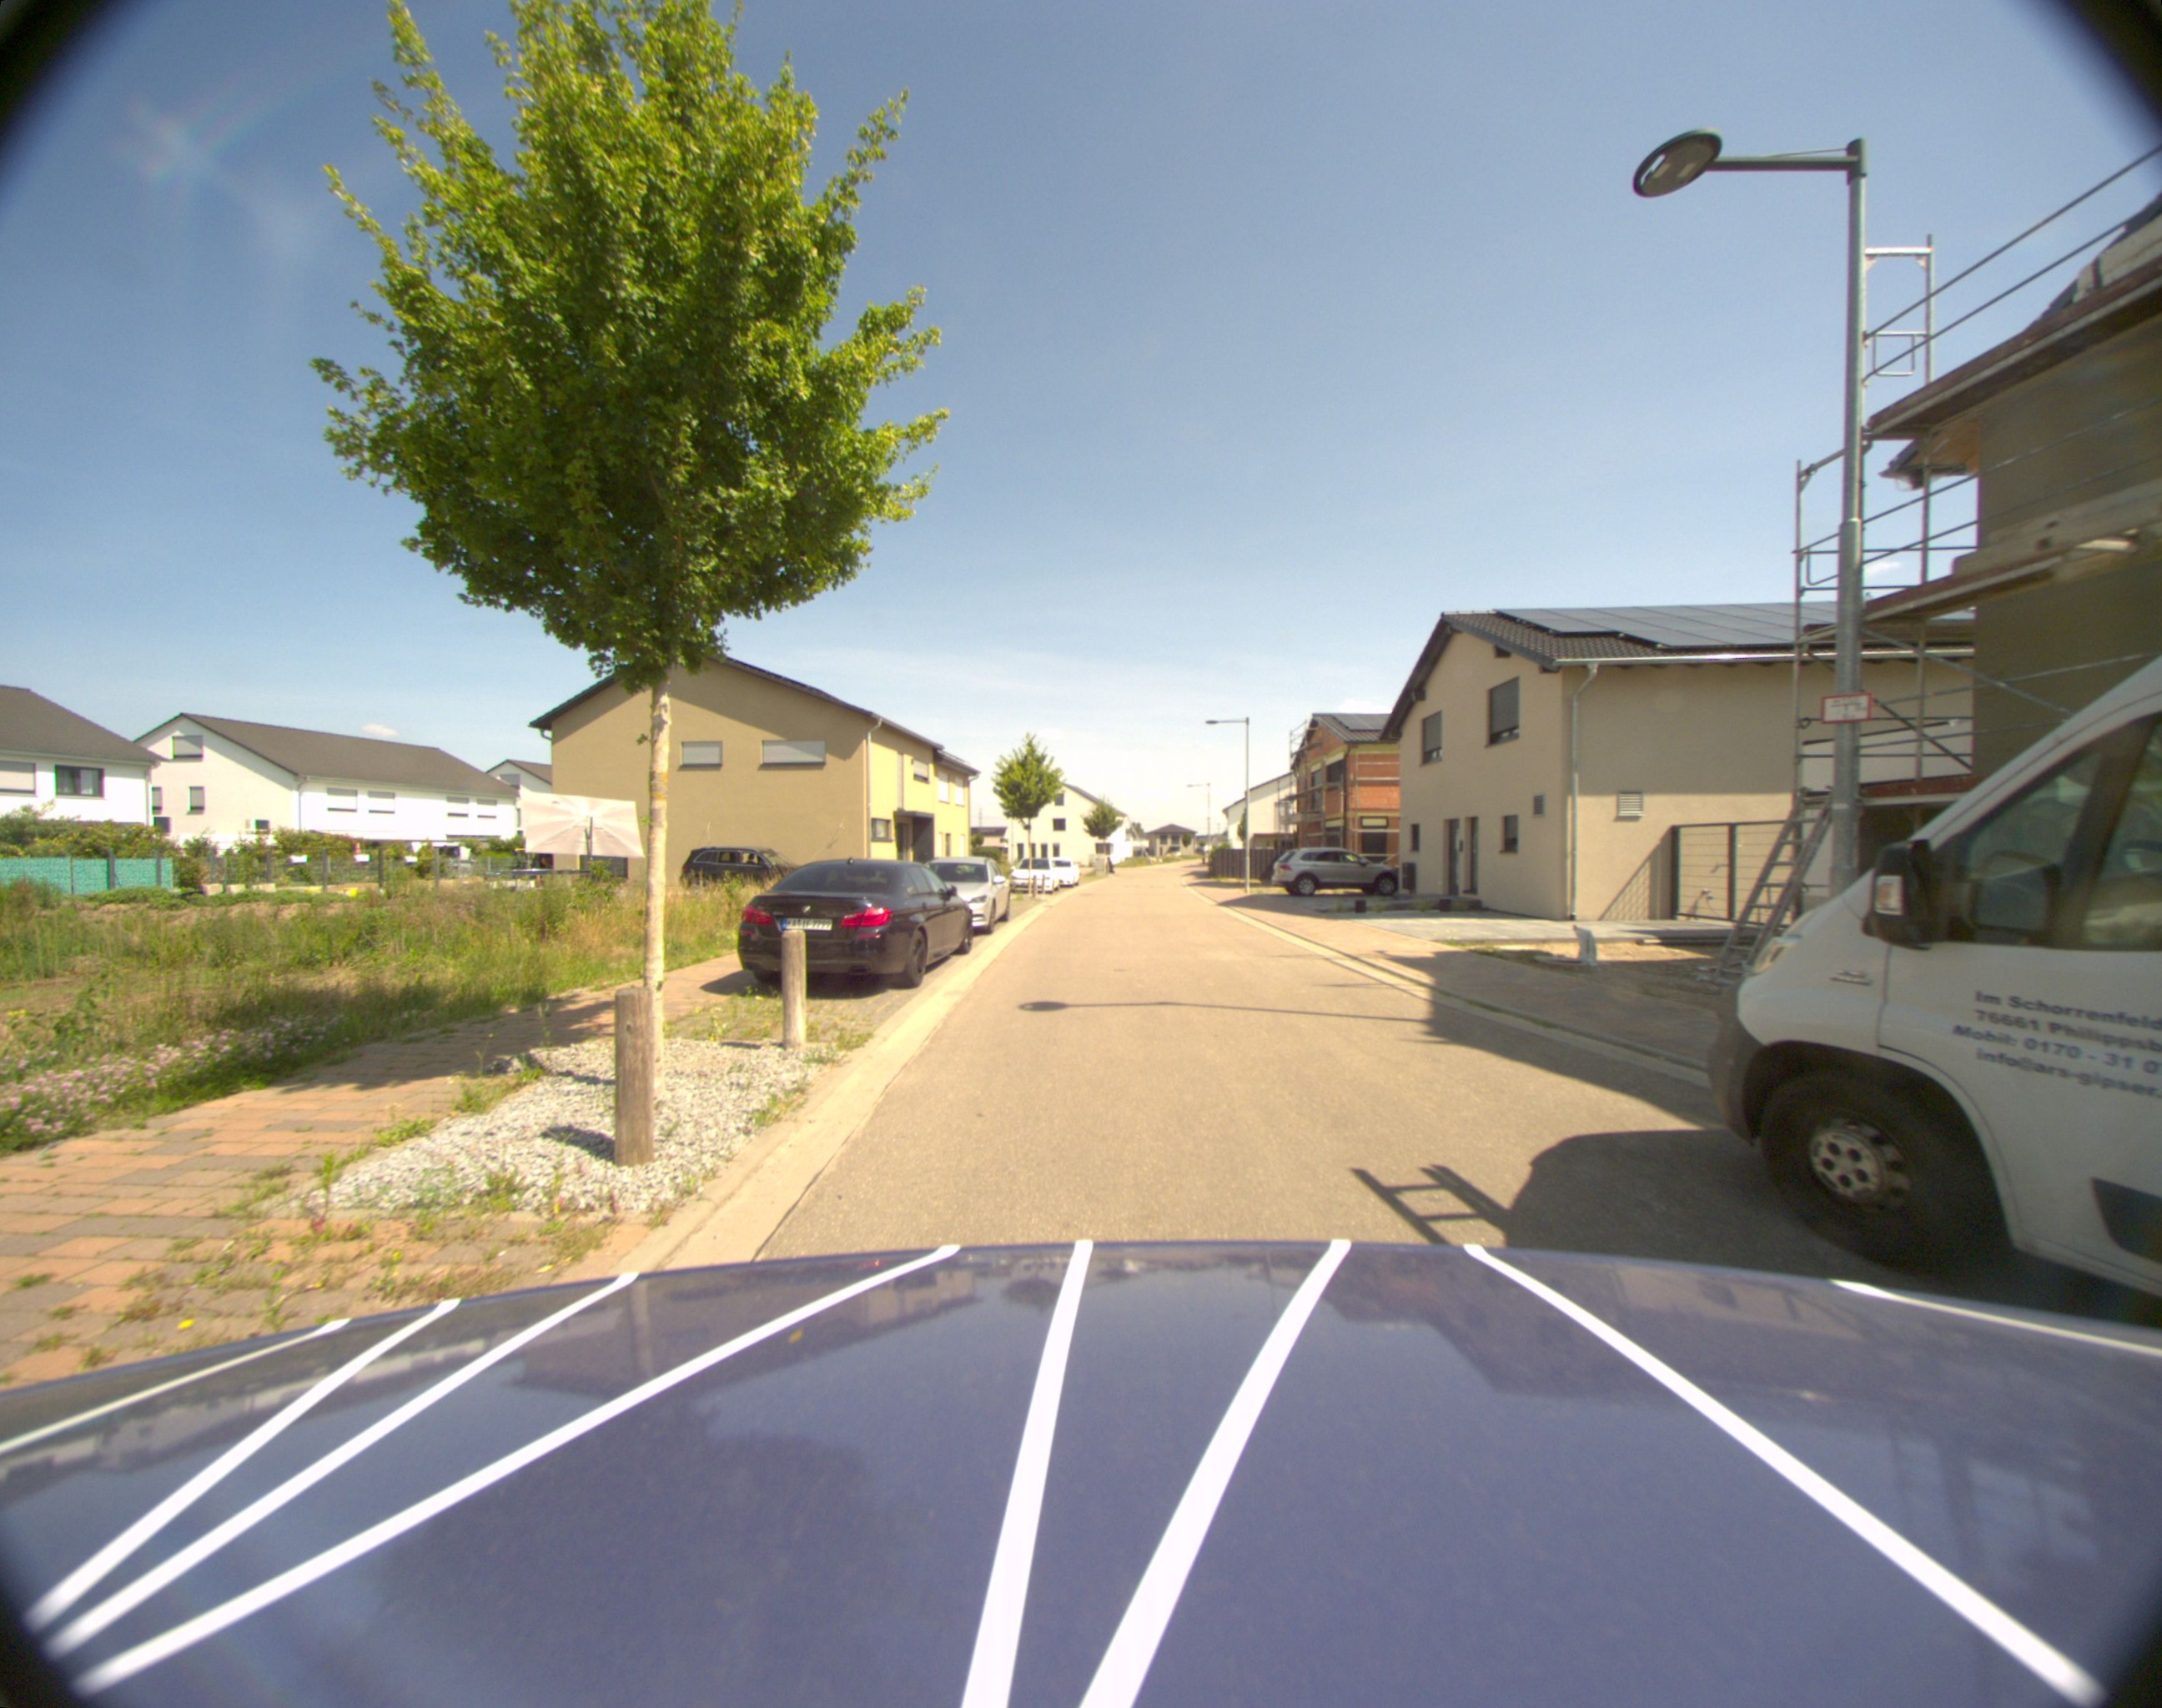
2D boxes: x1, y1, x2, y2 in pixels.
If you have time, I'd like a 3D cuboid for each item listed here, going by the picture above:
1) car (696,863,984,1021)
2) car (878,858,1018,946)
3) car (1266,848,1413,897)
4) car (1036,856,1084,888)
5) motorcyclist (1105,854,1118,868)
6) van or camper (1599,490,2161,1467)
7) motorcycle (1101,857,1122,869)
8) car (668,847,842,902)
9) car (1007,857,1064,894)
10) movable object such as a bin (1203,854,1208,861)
[{"bbox_3d":[-2.715,0.897,10.064,1.923,1.461,5.141,1,0,3],"label":"car"},{"bbox_3d":[-2.586,0.859,16.132,1.923,1.502,5.295,1,0,1],"label":"car"},{"bbox_3d":[8.880,0.609,26.422,4.435,1.602,2.000,0,0,1],"label":"car"},{"bbox_3d":[-0.992,0.848,38.394,1.818,1.447,4.566,1,1,6],"label":"car"},{"bbox_3d":[2.796,0.628,69.241,0.928,1.215,0.802,0,0,-22],"label":"motorcyclist"},{"bbox_3d":[4.059,0.348,0.777,2.279,2.539,6.363,0,1,-5],"label":"van or camper"},{"bbox_3d":[2.776,0.835,69.191,0.960,1.029,2.432,-2,0,-20],"label":"motorcycle"},{"bbox_3d":[-10.438,0.623,24.591,4.756,1.635,2.000,1,2,2],"label":"car"},{"bbox_3d":[-1.834,0.836,32.114,1.783,1.417,4.515,1,0,4],"label":"car"},{"bbox_3d":[16.850,0.444,102.590,0.597,0.916,0.462,0,1,15],"label":"movable object such as a bin"}]
